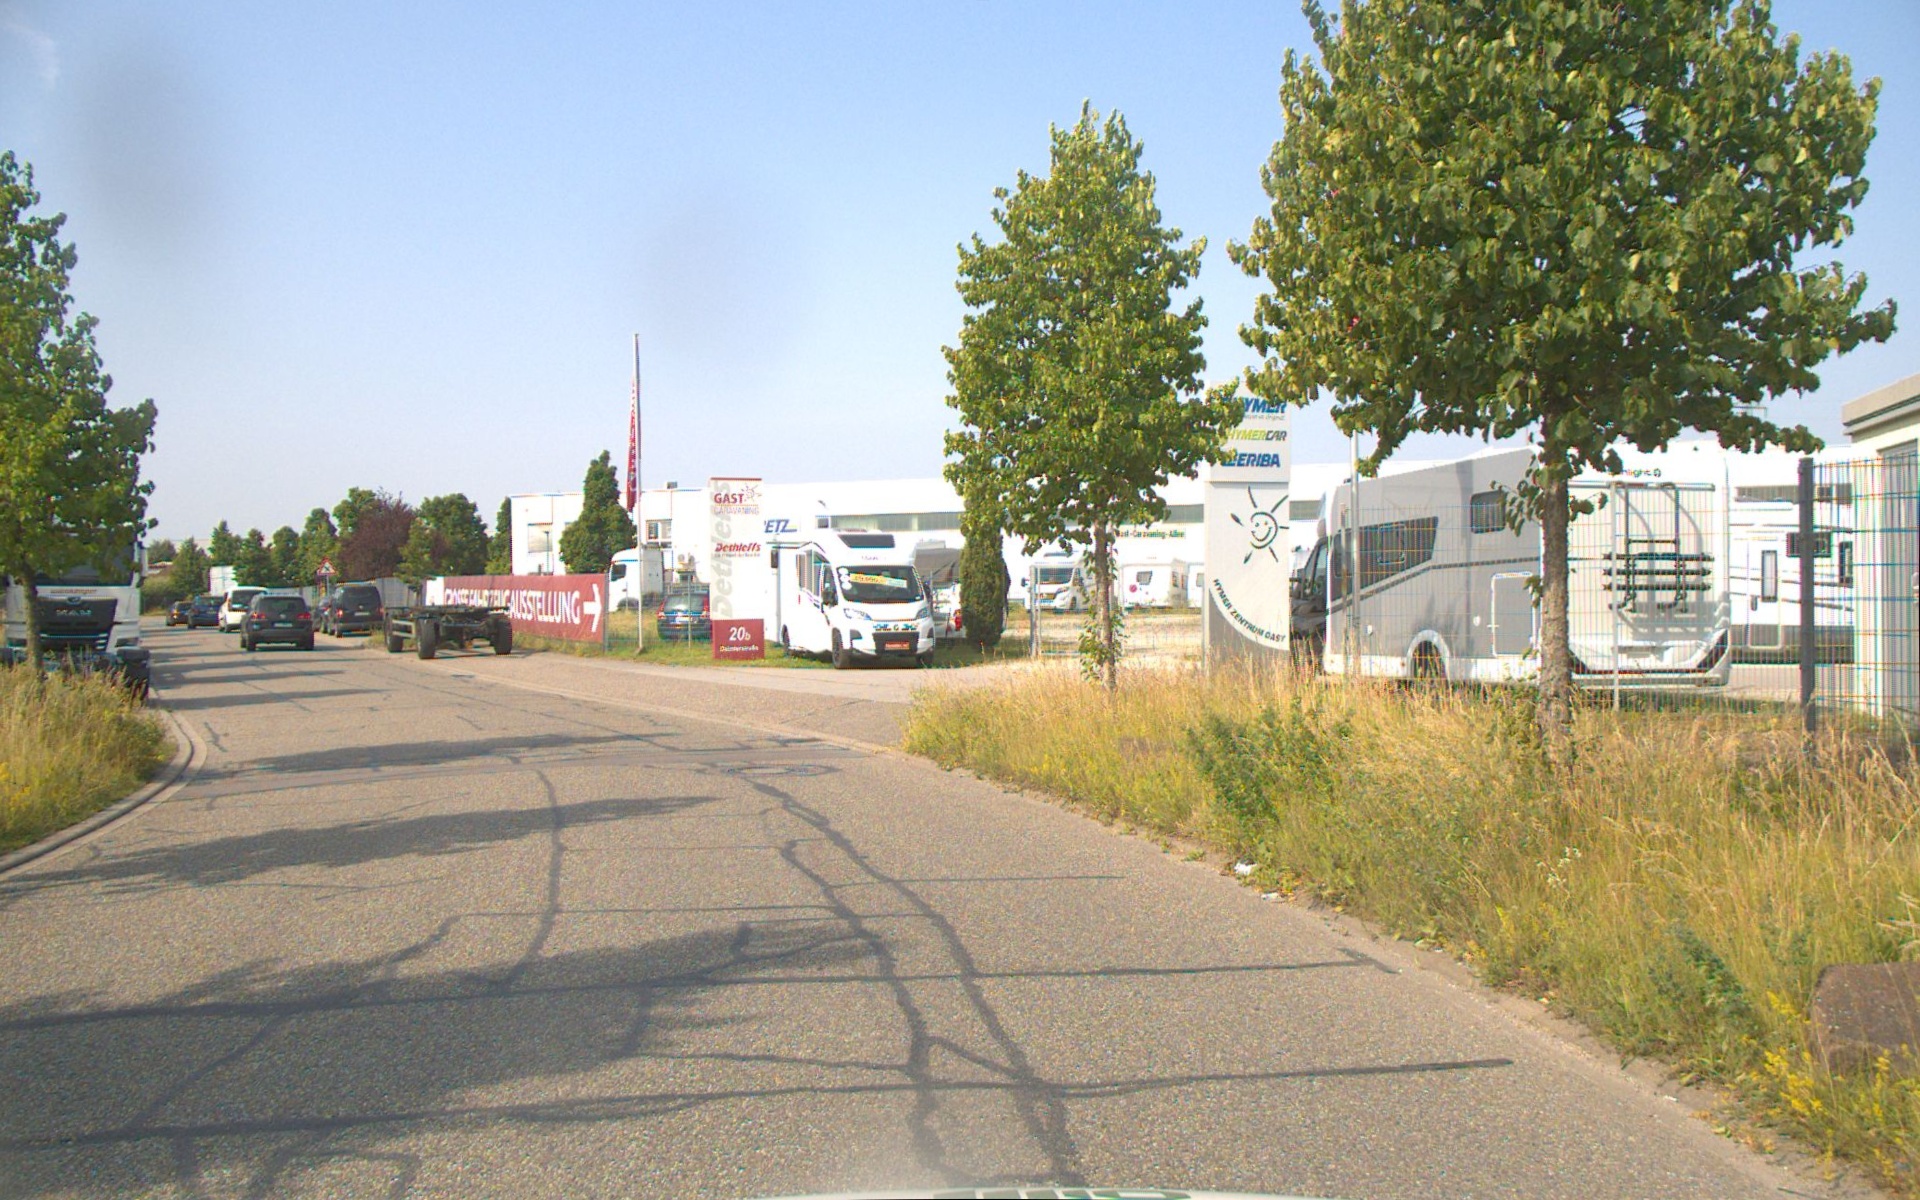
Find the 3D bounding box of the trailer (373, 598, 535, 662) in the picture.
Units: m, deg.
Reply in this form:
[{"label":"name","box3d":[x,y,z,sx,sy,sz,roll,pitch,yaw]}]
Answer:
[{"label":"trailer","box3d":[-14.285,0.741,46.133,2.594,1.412,9.367,-4,2,-28]}]

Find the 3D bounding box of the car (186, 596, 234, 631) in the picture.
[{"label":"car","box3d":[-37.864,0.665,83.471,1.971,1.668,3.963,-1,1,-28]}]

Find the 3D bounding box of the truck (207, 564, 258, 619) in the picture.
[{"label":"truck","box3d":[-51.157,-0.607,116.137,2.852,3.648,7.994,-3,1,-26]}]

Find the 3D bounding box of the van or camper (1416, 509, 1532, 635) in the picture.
[{"label":"van or camper","box3d":[12.267,-0.653,39.871,2.271,2.753,6.615,-1,1,14]}]

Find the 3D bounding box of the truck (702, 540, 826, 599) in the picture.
[{"label":"truck","box3d":[-8.719,-1.388,74.677,2.399,2.514,8.007,-1,1,18]}]

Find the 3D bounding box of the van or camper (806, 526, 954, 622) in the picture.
[{"label":"van or camper","box3d":[-2.699,-0.971,58.853,2.739,3.137,7.976,0,1,16]}]

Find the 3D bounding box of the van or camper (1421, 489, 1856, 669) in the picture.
[{"label":"van or camper","box3d":[12.392,-0.355,30.829,7.103,3.085,2.588,-1,0,11]}]

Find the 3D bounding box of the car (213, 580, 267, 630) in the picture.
[{"label":"car","box3d":[-30.143,0.170,69.184,1.968,1.932,4.433,-1,2,-25]}]

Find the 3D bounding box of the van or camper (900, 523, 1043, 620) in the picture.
[{"label":"van or camper","box3d":[0.556,-1.019,57.882,2.887,3.137,7.976,0,1,16]}]

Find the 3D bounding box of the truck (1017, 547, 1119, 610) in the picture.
[{"label":"truck","box3d":[4.708,-0.959,70.500,2.399,2.514,8.007,-1,1,18]}]

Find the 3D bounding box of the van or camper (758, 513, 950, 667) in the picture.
[{"label":"van or camper","box3d":[-2.462,-0.254,35.966,2.296,2.994,6.930,-1,1,-20]}]

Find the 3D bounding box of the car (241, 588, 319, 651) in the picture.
[{"label":"car","box3d":[-21.059,0.558,51.138,1.969,1.836,3.967,0,1,-26]}]

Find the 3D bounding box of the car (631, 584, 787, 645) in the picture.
[{"label":"car","box3d":[-6.809,0.377,45.283,2.127,1.502,3.990,-1,1,32]}]

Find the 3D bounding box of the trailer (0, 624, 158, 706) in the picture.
[{"label":"trailer","box3d":[-15.156,1.040,28.097,2.545,1.119,5.152,-1,1,-28]}]

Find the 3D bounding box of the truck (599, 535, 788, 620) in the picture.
[{"label":"truck","box3d":[-13.349,-1.107,82.818,9.086,4.041,2.461,-1,1,15]}]

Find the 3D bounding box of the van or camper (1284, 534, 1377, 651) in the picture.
[{"label":"van or camper","box3d":[9.005,-0.224,39.899,1.951,2.578,6.156,-1,1,14]}]

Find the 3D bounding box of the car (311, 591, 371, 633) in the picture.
[{"label":"car","box3d":[-24.941,0.449,66.576,1.797,1.474,3.769,-5,3,-26]}]

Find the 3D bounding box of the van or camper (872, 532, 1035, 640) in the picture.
[{"label":"van or camper","box3d":[-0.030,-0.420,43.471,2.431,2.603,6.630,0,1,17]}]

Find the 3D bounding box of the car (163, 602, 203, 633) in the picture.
[{"label":"car","box3d":[-47.440,1.051,100.974,1.971,1.803,3.963,-1,1,-28]}]

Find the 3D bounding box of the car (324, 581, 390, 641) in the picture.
[{"label":"car","box3d":[-22.488,0.360,61.624,1.797,2.012,3.967,-5,3,-26]}]

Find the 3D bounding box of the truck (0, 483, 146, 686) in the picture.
[{"label":"truck","box3d":[-20.635,-0.340,38.917,2.594,3.997,12.807,-1,0,-26]}]

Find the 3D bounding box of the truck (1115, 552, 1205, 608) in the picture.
[{"label":"truck","box3d":[8.800,-0.914,71.996,2.399,2.304,8.007,-1,1,18]}]

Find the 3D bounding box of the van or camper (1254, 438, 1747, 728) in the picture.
[{"label":"van or camper","box3d":[6.179,-0.217,20.409,2.309,2.897,7.316,-1,1,-13]}]

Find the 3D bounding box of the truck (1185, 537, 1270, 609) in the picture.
[{"label":"truck","box3d":[11.566,-1.179,71.058,2.399,2.875,8.007,-1,1,18]}]
